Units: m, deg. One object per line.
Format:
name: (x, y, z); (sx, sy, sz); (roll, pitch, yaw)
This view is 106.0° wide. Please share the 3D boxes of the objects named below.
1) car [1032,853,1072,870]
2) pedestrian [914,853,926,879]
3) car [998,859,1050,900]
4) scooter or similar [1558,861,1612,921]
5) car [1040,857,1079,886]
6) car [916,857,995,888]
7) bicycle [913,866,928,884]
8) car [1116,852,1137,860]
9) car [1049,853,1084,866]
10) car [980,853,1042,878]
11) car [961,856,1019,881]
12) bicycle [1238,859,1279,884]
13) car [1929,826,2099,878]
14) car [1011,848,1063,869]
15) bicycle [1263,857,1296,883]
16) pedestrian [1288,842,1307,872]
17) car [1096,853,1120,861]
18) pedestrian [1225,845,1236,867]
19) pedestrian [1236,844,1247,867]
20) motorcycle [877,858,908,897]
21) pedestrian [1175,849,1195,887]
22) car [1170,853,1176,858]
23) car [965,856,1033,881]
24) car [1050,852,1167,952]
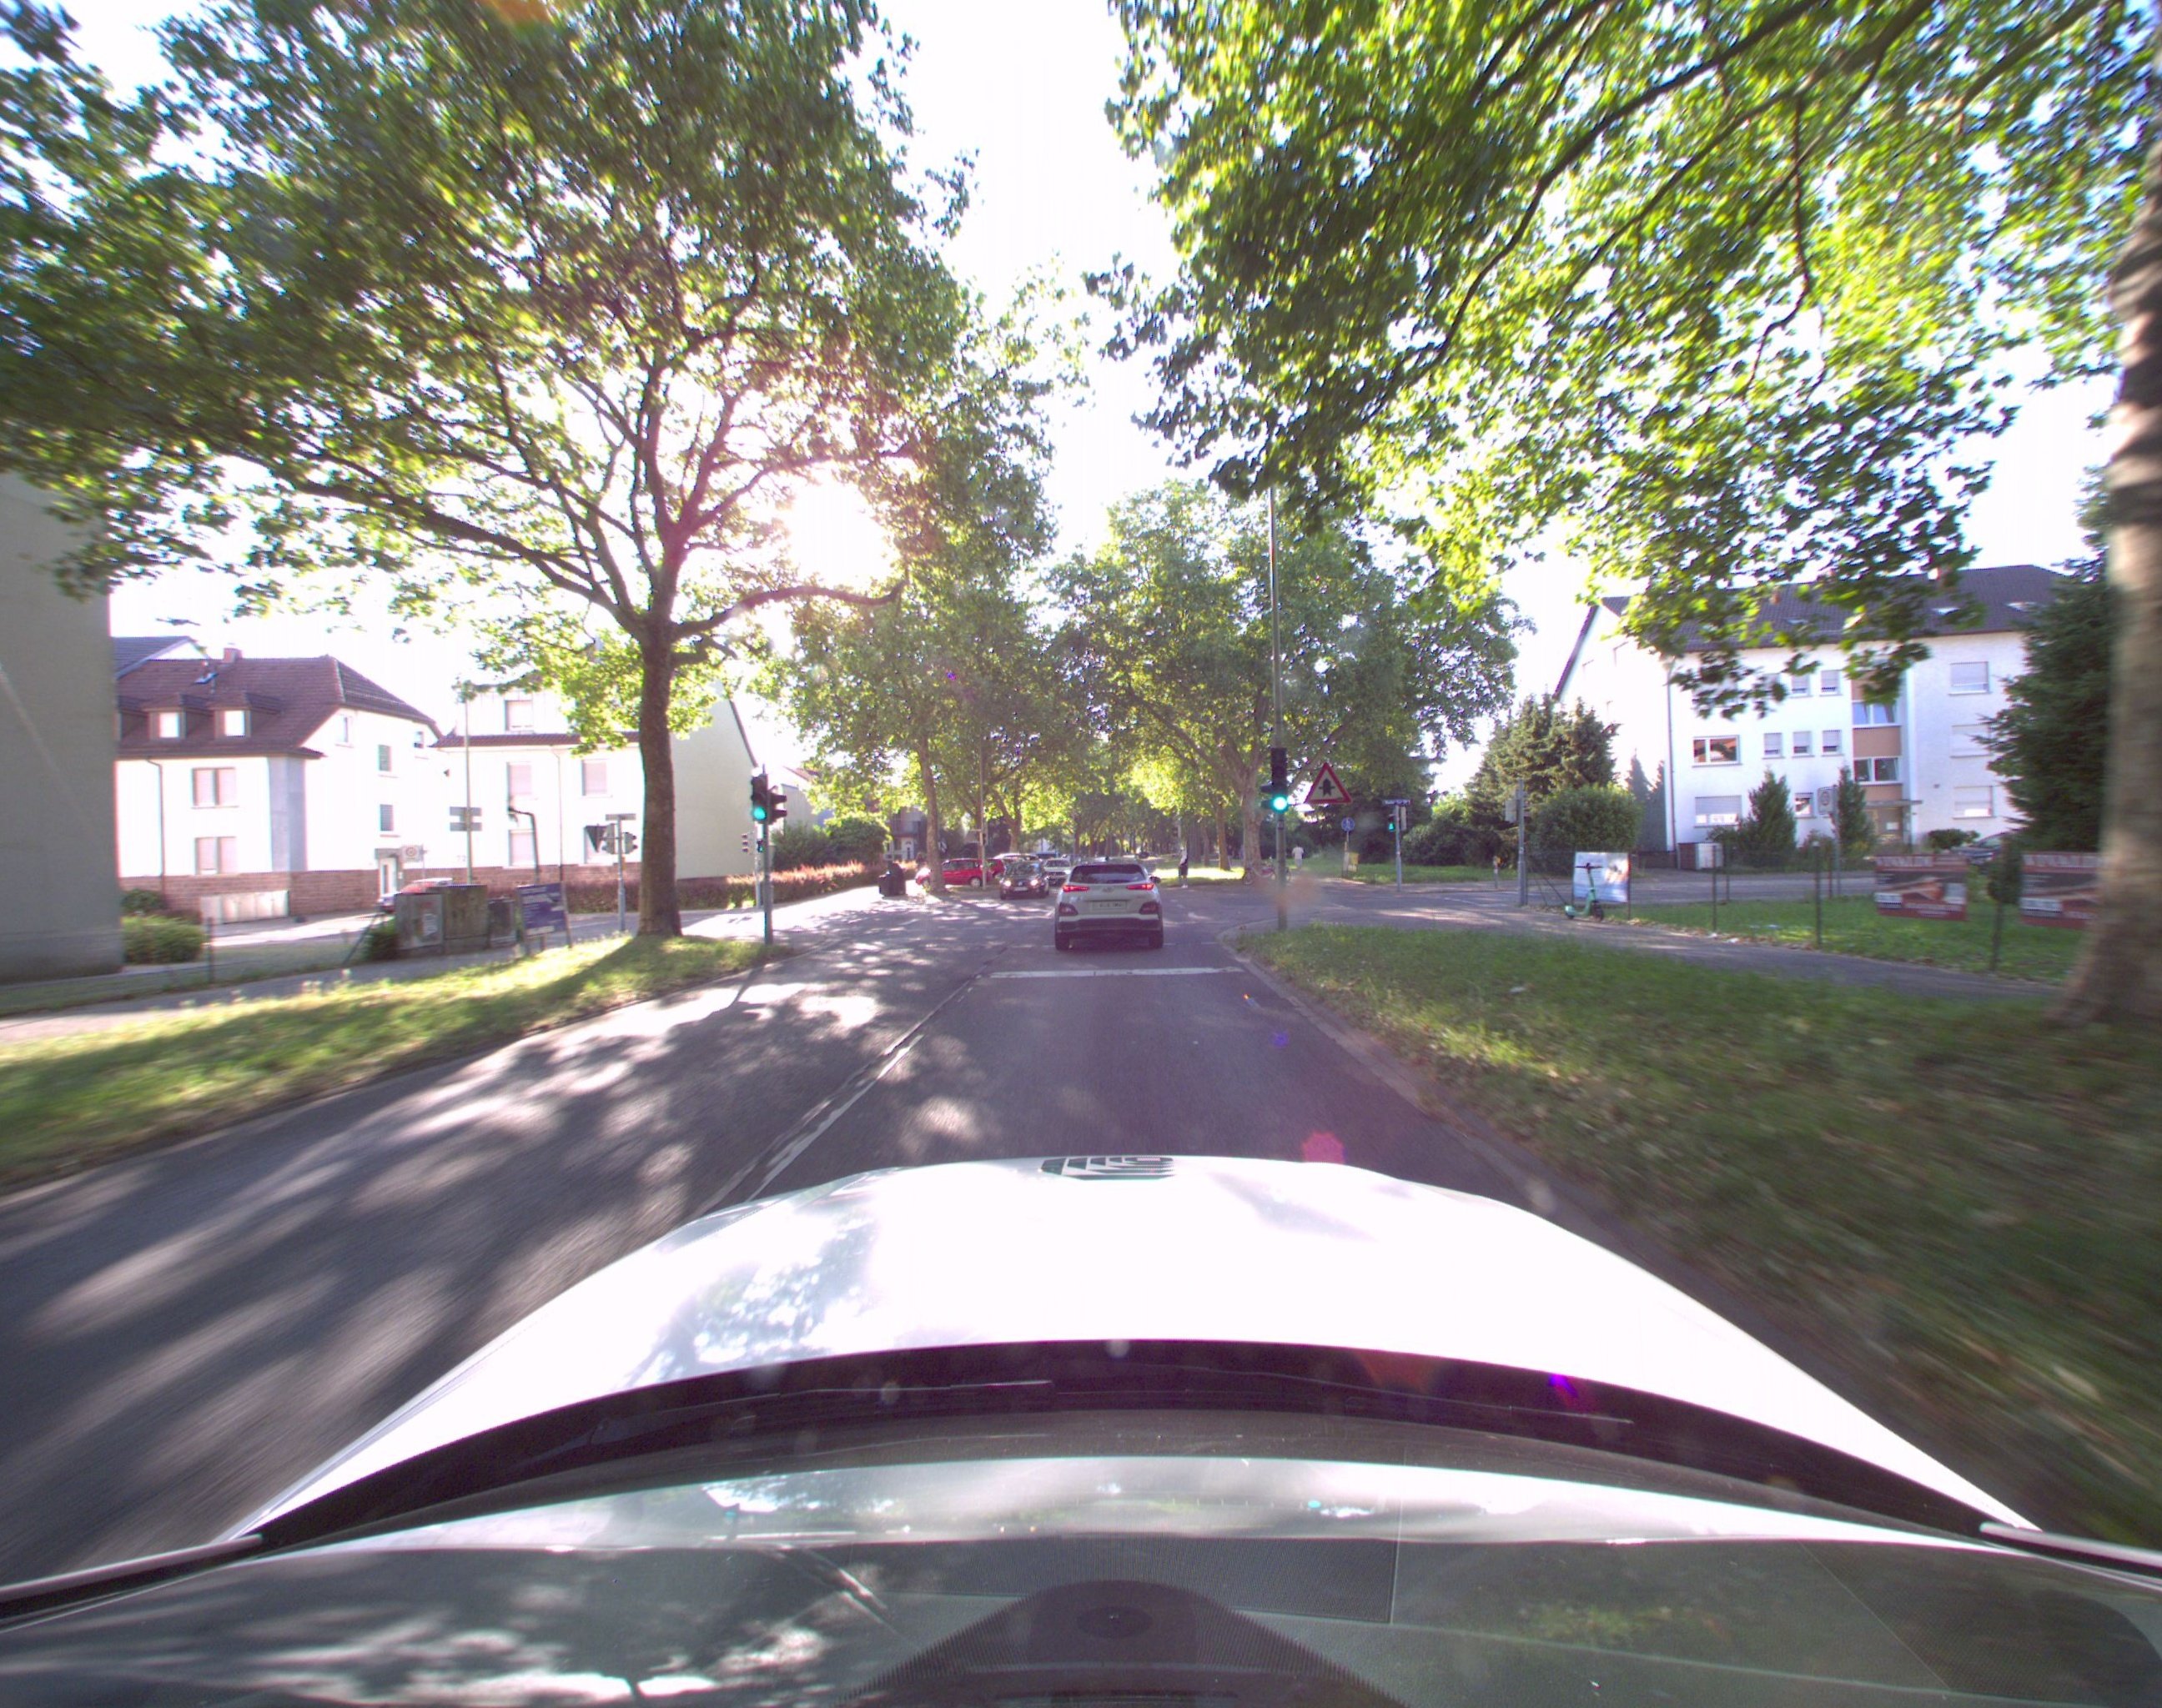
car: (-2.902, 0.770, 82.378); (3.856, 1.518, 1.666); (-2, 0, 2)
pedestrian: (-9.899, 0.731, 50.206); (0.507, 1.531, 1.034); (-2, -1, -1)
car: (-2.212, 0.959, 32.579); (1.721, 1.464, 4.068); (-2, 0, 0)
scooter or similar: (10.602, 0.762, 17.158); (0.381, 1.196, 1.255); (-1, 0, 1)
car: (-1.123, 0.931, 45.008); (1.709, 1.501, 4.098); (-1, 0, 4)
car: (-6.506, 0.932, 42.420); (3.751, 1.535, 1.832); (-1, 0, 1)
bicycle: (-9.877, 1.284, 50.256); (0.508, 1.042, 2.151); (-2, -1, -1)
car: (9.553, 0.507, 171.202); (4.163, 1.584, 2.003); (-1, 0, 5)
car: (-1.657, 0.630, 95.882); (3.972, 1.518, 1.818); (-1, 0, 2)
car: (-4.906, 0.793, 57.142); (4.074, 1.716, 1.833); (-1, 0, 3)
car: (-5.547, 0.894, 49.989); (3.327, 1.480, 1.696); (0, 0, 1)
bicycle: (7.796, 0.789, 35.843); (1.698, 1.035, 0.449); (-2, 2, 38)
car: (33.108, -0.099, 29.010); (3.729, 1.594, 1.872); (-2, 3, 6)
car: (-3.891, 0.407, 72.112); (4.368, 1.824, 1.997); (-1, 0, 2)
bicycle: (8.907, 0.697, 36.691); (0.446, 1.082, 1.996); (-4, 2, -17)
pedestrian: (12.145, 0.183, 45.688); (0.776, 1.649, 0.939); (-2, 0, 3)
car: (4.377, 0.488, 133.674); (3.805, 1.316, 1.793); (0, 0, 7)
pedestrian: (12.274, 0.158, 66.861); (0.757, 1.846, 0.789); (-2, 0, 7)
pedestrian: (13.169, 0.090, 66.758); (0.750, 1.847, 0.804); (-2, 0, 7)
motorcycle: (-8.742, 1.056, 37.808); (0.978, 1.637, 2.387); (-2, 2, -4)
pedestrian: (4.789, 0.638, 37.508); (0.633, 1.719, 0.825); (-4, 0, -4)
car: (24.803, 0.354, 219.506); (1.680, 1.465, 3.701); (-1, 0, 6)
car: (-5.214, 0.931, 52.219); (4.146, 1.501, 1.876); (-1, 0, 1)
car: (0.496, 0.785, 15.087); (1.829, 1.555, 4.001); (-2, 0, 1)
